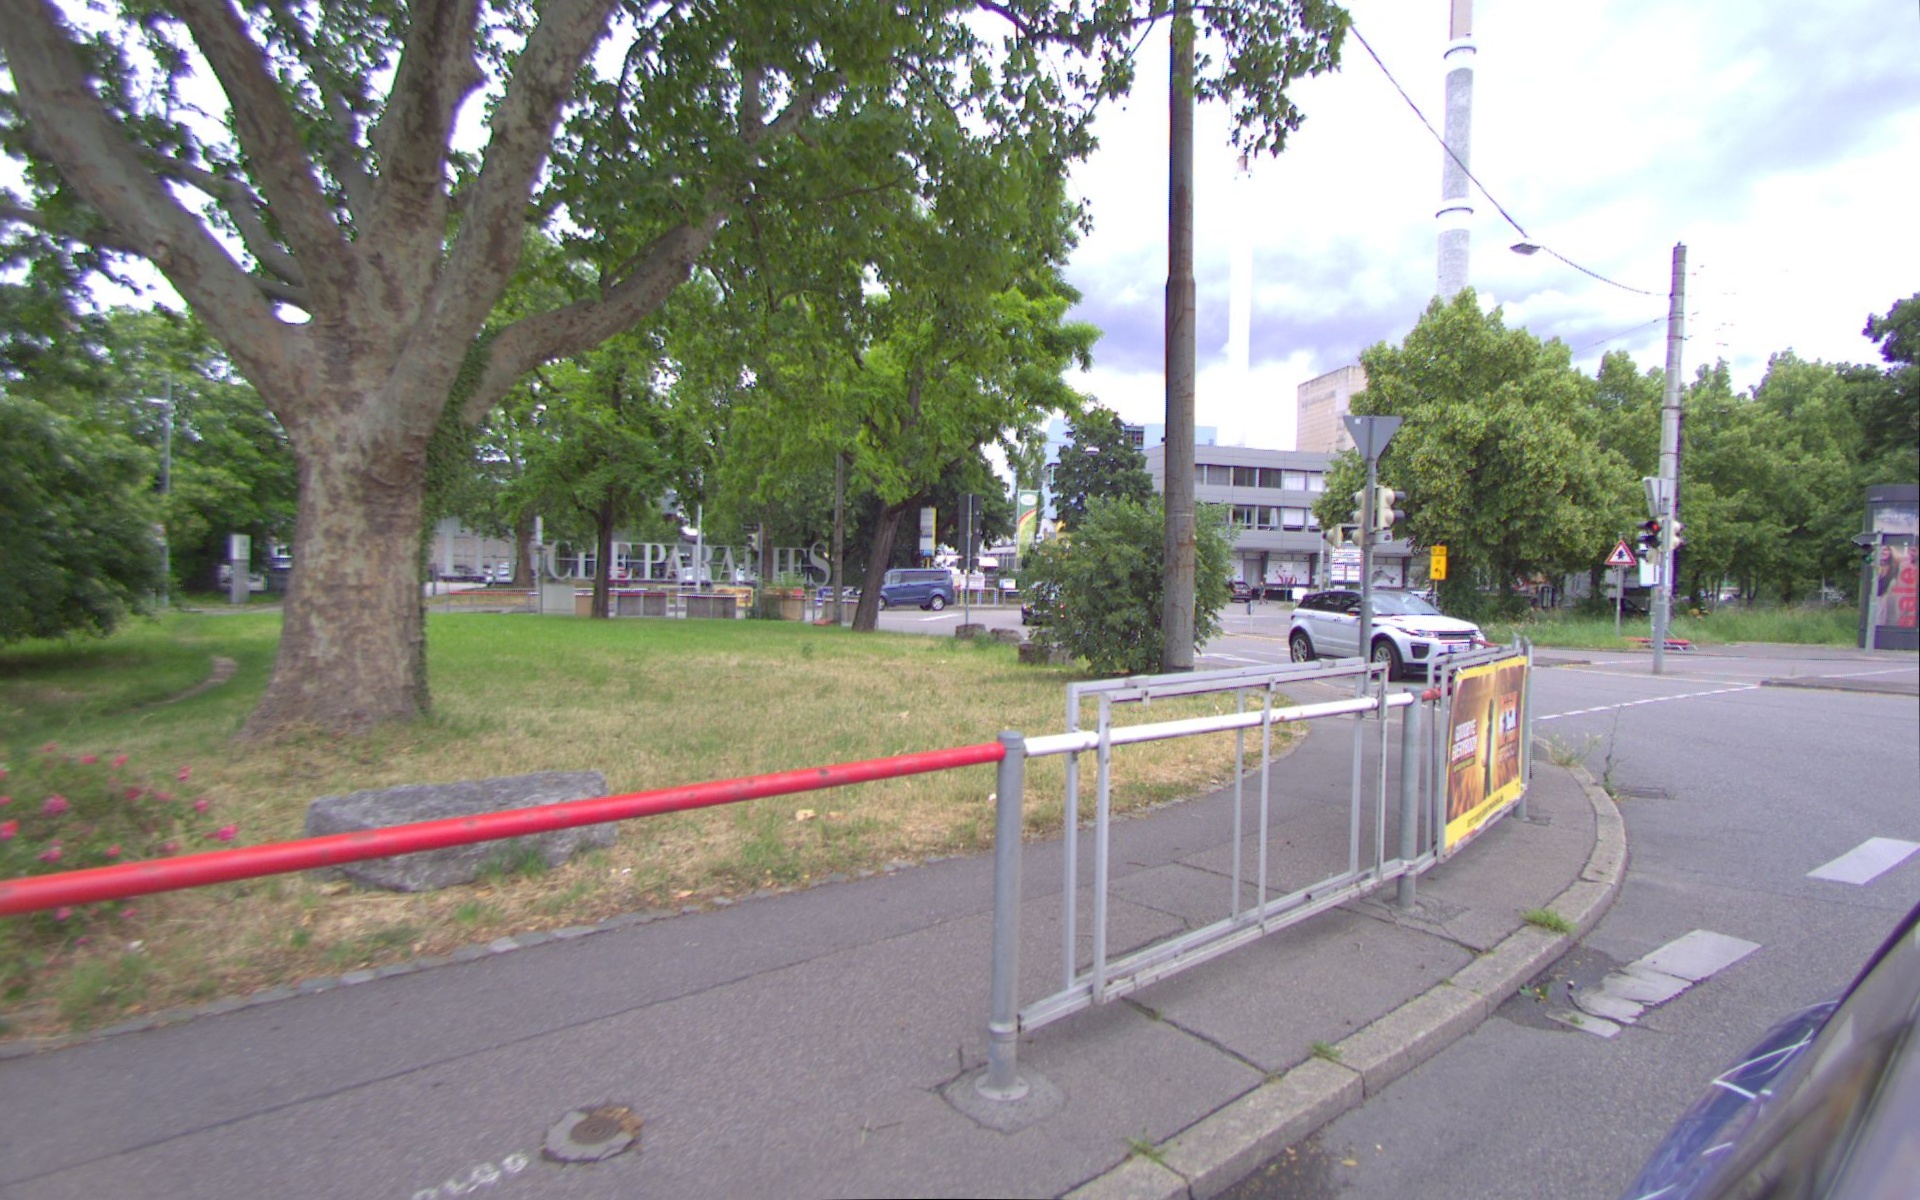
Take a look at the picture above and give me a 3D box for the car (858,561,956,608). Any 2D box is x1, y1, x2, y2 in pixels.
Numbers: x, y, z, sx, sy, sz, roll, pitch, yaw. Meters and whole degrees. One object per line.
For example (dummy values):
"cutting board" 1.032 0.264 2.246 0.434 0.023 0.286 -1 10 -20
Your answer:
"car" -2.504 -0.715 47.856 4.150 2.038 2.005 1 2 -24

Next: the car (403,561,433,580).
"car" -42.932 -2.332 80.225 1.717 1.331 3.581 -3 4 -22

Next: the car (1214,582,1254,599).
"car" 21.916 -0.774 81.101 1.741 1.192 3.581 -2 4 -11

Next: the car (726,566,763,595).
"car" -13.136 -1.207 61.480 1.958 1.474 4.712 -2 4 -14

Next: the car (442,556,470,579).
"car" -40.478 -2.604 81.309 1.717 1.704 3.581 -3 4 -22

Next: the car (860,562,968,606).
"car" -2.163 -0.760 47.881 4.702 1.969 1.837 1 1 -23

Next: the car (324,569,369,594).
"car" -38.963 -1.187 64.337 1.876 1.527 4.009 1 1 -23

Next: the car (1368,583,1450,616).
"car" 26.651 -0.061 60.064 4.670 1.682 2.003 -3 4 -29

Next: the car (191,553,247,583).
"car" -45.687 -1.968 62.513 1.876 1.721 4.009 2 1 -23

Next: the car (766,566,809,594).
"car" -10.730 -1.264 62.713 1.958 1.474 4.713 -2 4 -18

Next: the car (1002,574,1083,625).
"car" 3.259 -0.034 39.141 1.813 1.793 4.196 3 2 24

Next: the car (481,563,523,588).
"car" -30.629 -1.651 67.841 1.898 1.448 5.266 -2 4 -17

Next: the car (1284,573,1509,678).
"car" 8.133 0.381 19.325 1.877 1.588 4.124 -2 4 -12
